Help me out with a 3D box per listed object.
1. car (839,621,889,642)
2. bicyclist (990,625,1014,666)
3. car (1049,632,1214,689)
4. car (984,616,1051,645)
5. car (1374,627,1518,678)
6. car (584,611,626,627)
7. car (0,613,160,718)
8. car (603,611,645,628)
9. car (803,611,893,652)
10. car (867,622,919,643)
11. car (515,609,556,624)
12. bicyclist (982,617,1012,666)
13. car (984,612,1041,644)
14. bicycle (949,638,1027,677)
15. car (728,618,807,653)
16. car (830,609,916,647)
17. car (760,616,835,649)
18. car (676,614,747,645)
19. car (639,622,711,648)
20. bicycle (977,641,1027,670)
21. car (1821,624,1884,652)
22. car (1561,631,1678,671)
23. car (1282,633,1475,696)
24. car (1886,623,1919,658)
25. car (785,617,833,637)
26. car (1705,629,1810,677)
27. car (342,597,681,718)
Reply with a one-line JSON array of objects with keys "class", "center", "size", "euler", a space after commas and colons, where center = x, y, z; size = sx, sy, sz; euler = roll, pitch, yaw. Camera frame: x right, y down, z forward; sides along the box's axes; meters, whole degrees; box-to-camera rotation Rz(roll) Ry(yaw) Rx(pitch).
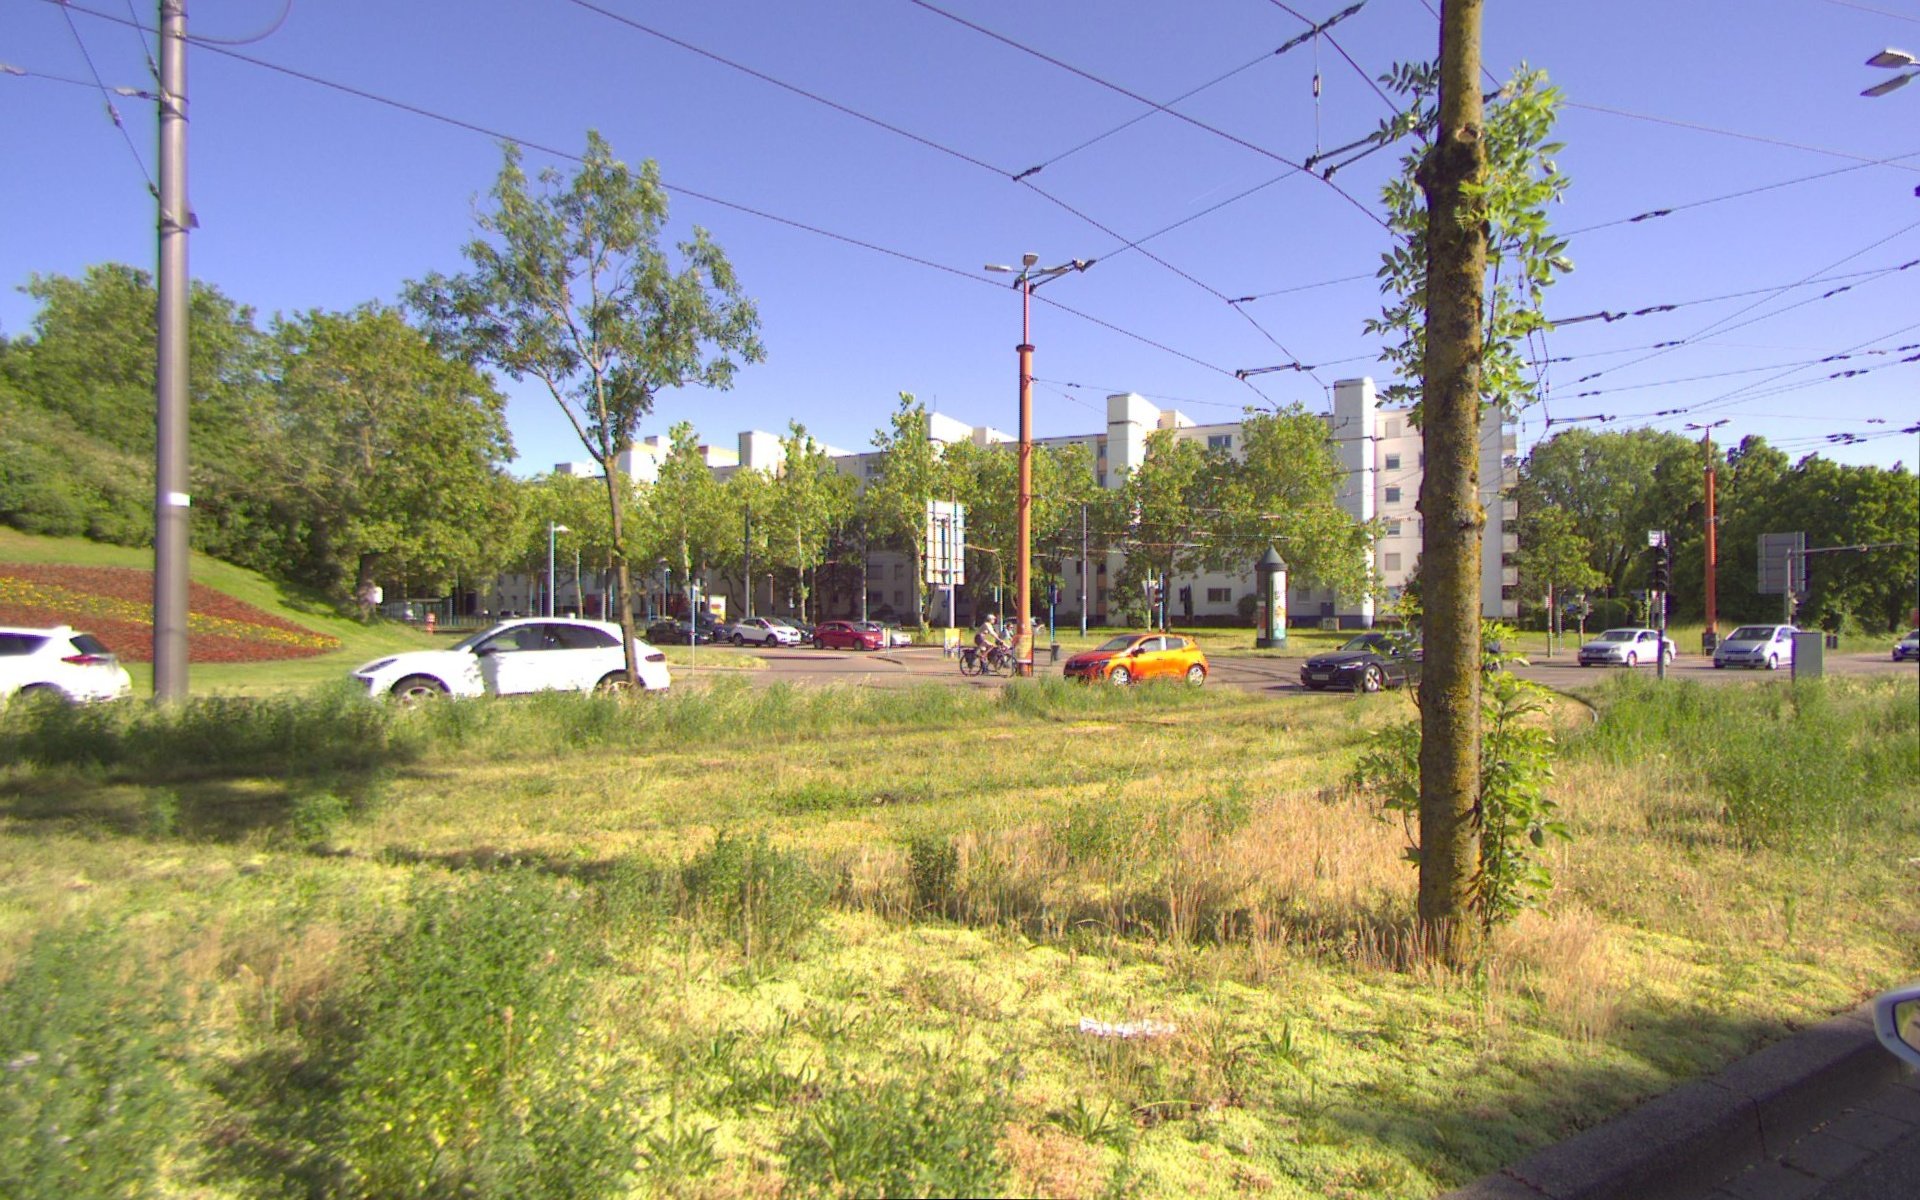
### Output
[{"class": "car", "center": [-8.125, 2.678, 85.227], "size": [3.936, 1.617, 1.889], "euler": [1, 0, -17]}, {"class": "bicyclist", "center": [1.410, 1.514, 33.531], "size": [0.686, 1.340, 0.549], "euler": [1, 0, 13]}, {"class": "car", "center": [4.440, 1.529, 25.881], "size": [4.129, 1.315, 1.649], "euler": [1, 0, -31]}, {"class": "car", "center": [4.112, 2.148, 71.601], "size": [4.327, 2.040, 1.997], "euler": [0, -1, 29]}, {"class": "car", "center": [15.830, 1.676, 32.663], "size": [4.576, 1.500, 1.984], "euler": [1, 0, -30]}, {"class": "car", "center": [-36.679, 1.967, 103.828], "size": [3.936, 1.617, 1.889], "euler": [1, 0, -17]}, {"class": "car", "center": [-14.500, 0.904, 14.360], "size": [4.489, 1.416, 1.891], "euler": [1, 0, -30]}, {"class": "car", "center": [-33.941, 2.012, 101.629], "size": [3.936, 1.617, 1.889], "euler": [1, 0, -17]}, {"class": "car", "center": [-5.775, 1.574, 51.514], "size": [4.198, 1.926, 1.997], "euler": [1, 0, 29]}, {"class": "car", "center": [-5.579, 2.720, 83.324], "size": [3.936, 1.617, 1.889], "euler": [1, 0, -17]}, {"class": "car", "center": [-46.755, 1.795, 110.690], "size": [3.936, 1.617, 1.889], "euler": [1, 0, -17]}, {"class": "bicyclist", "center": [1.128, 1.244, 30.531], "size": [0.742, 1.449, 0.752], "euler": [1, 0, 15]}, {"class": "car", "center": [3.963, 2.127, 76.406], "size": [3.936, 2.341, 1.889], "euler": [1, 0, -17]}, {"class": "bicycle", "center": [0.847, 1.750, 30.577], "size": [2.313, 1.095, 0.474], "euler": [1, 0, 15]}, {"class": "car", "center": [-10.512, 1.897, 54.957], "size": [3.928, 1.773, 1.909], "euler": [1, 0, 29]}, {"class": "car", "center": [-4.732, 1.495, 54.515], "size": [4.198, 1.926, 1.997], "euler": [1, 0, 29]}, {"class": "car", "center": [-9.363, 1.861, 57.871], "size": [3.928, 1.773, 1.909], "euler": [1, 0, 29]}, {"class": "car", "center": [-15.045, 1.758, 60.899], "size": [3.928, 1.773, 1.909], "euler": [1, 0, 29]}, {"class": "car", "center": [-16.495, 2.019, 58.164], "size": [3.928, 1.340, 1.733], "euler": [1, 0, 30]}, {"class": "bicycle", "center": [1.407, 1.857, 33.520], "size": [1.593, 0.894, 0.368], "euler": [1, 0, 13]}, {"class": "car", "center": [57.075, 2.426, 64.243], "size": [3.953, 1.644, 1.903], "euler": [1, 0, -30]}, {"class": "car", "center": [25.490, 1.949, 38.797], "size": [4.640, 1.451, 1.984], "euler": [1, -2, -31]}, {"class": "car", "center": [10.854, 1.618, 25.961], "size": [4.930, 1.428, 1.985], "euler": [1, 0, -29]}, {"class": "car", "center": [43.568, 1.793, 45.173], "size": [4.132, 1.492, 1.582], "euler": [0, -2, -29]}, {"class": "car", "center": [-13.333, 2.373, 88.619], "size": [3.936, 1.617, 1.889], "euler": [1, 0, -17]}, {"class": "car", "center": [28.920, 1.898, 36.411], "size": [3.713, 1.629, 1.755], "euler": [1, -2, -30]}, {"class": "car", "center": [-6.930, 0.833, 15.702], "size": [4.604, 1.643, 1.884], "euler": [1, 0, -32]}]
